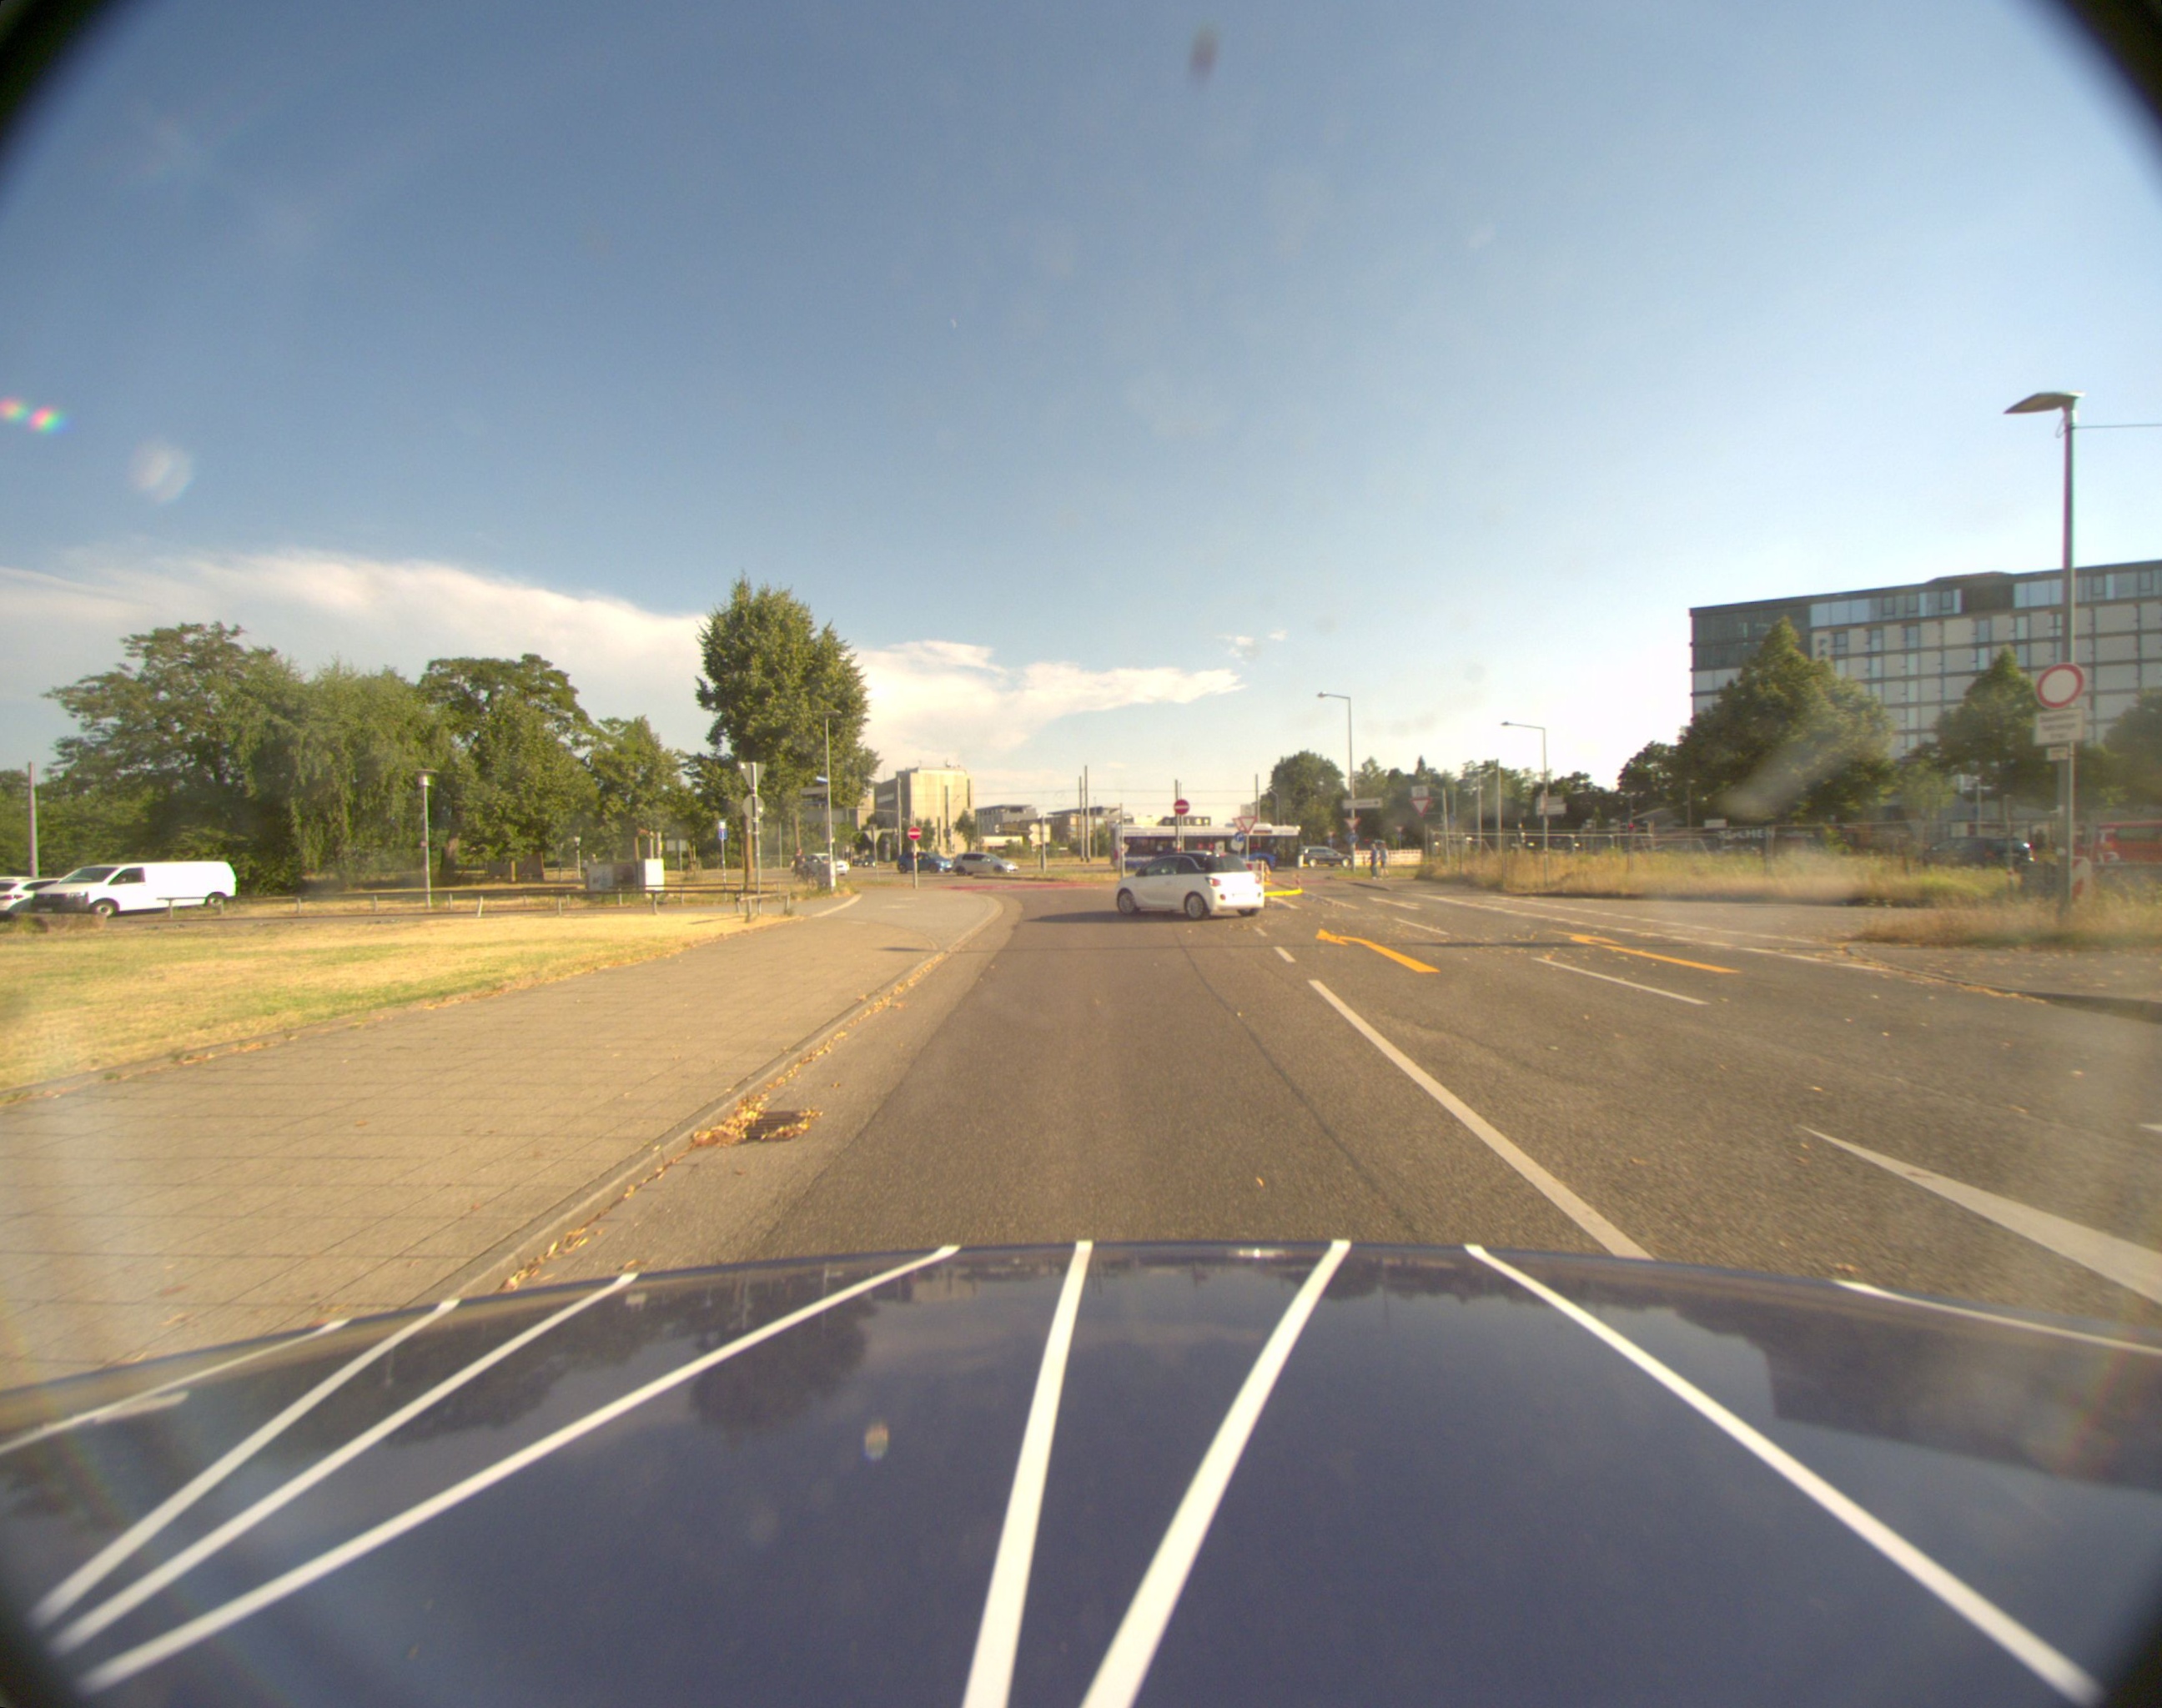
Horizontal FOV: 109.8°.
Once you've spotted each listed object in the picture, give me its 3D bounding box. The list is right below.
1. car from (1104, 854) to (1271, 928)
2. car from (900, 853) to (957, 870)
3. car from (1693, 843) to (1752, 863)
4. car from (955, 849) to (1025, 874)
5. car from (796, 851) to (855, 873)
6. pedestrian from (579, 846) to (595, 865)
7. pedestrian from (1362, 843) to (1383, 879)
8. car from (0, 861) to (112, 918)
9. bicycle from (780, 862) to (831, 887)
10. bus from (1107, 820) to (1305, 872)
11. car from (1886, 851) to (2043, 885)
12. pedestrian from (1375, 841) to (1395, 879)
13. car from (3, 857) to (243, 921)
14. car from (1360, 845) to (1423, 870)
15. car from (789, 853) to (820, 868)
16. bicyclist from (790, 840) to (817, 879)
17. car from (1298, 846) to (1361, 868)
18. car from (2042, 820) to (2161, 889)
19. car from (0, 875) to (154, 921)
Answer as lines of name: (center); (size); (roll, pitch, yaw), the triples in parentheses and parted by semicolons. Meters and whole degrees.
car: (2.296, 0.744, 17.168); (1.767, 1.413, 3.615); (-3, 2, -33)
car: (-10.951, 0.552, 54.457); (3.989, 1.171, 1.648); (-1, 0, 32)
car: (47.635, -0.071, 56.421); (4.708, 1.398, 1.839); (-1, 0, -29)
car: (-5.811, 0.475, 48.779); (3.993, 1.515, 2.002); (0, 0, 13)
car: (-18.160, 0.573, 53.944); (4.037, 1.542, 1.916); (-1, 0, 34)
pedestrian: (-36.099, 0.101, 55.497); (0.652, 1.383, 0.767); (1, 0, 0)
pedestrian: (14.021, 0.334, 36.539); (0.811, 1.699, 0.787); (-1, 1, 12)
car: (-40.759, 1.343, 28.481); (2.268, 2.002, 5.057); (-1, 1, 0)
bicycle: (-12.910, 0.938, 35.634); (2.123, 1.116, 0.641); (-1, 1, 5)
bus: (7.886, -0.521, 48.459); (12.175, 3.044, 2.665); (-1, 1, -6)
car: (38.110, 0.557, 32.972); (1.998, 1.355, 4.245); (-1, 0, 3)
pedestrian: (14.259, 0.286, 35.660); (0.770, 1.765, 0.760); (-1, 1, 13)
car: (-35.366, 1.215, 28.383); (2.268, 2.002, 5.217); (-1, 1, 0)
car: (27.262, 0.317, 66.679); (5.251, 2.035, 2.090); (-1, 1, -26)
car: (-26.103, 0.572, 71.894); (2.095, 1.376, 4.585); (-1, 1, -11)
bicyclist: (-13.025, 0.254, 35.638); (0.937, 1.790, 0.728); (-1, 1, 4)
car: (17.882, 0.190, 54.700); (4.394, 1.428, 1.807); (-2, 1, -30)
car: (32.897, -0.002, 22.441); (5.297, 2.002, 2.004); (0, 1, 40)
car: (-37.745, 1.586, 28.137); (1.869, 1.435, 3.999); (-1, 1, 0)
